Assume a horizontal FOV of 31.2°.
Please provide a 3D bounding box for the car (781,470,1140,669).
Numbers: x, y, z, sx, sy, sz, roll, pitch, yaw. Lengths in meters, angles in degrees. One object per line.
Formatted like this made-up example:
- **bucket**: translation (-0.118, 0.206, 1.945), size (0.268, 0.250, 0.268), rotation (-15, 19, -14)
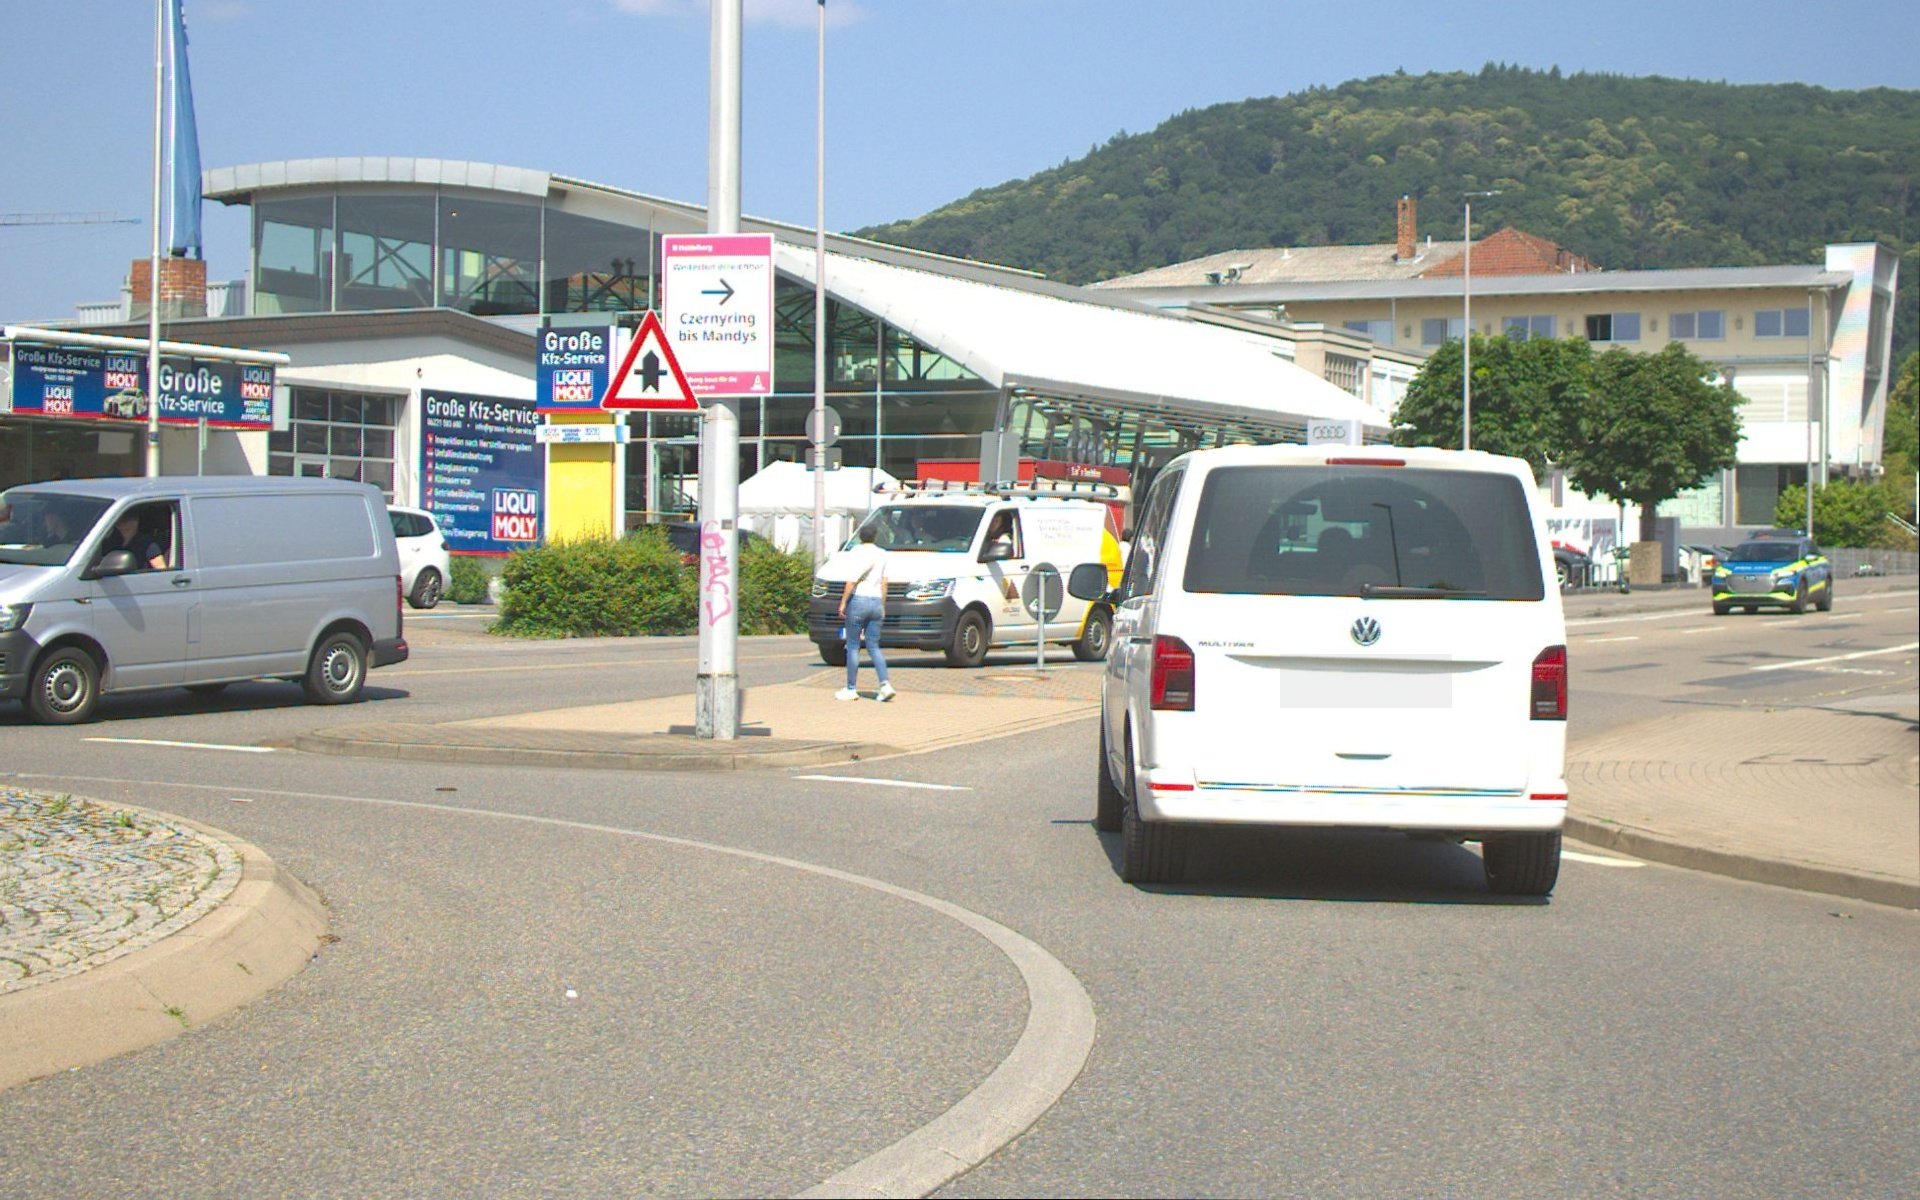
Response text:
- **car**: translation (0.090, -0.400, 39.473), size (2.024, 2.107, 4.927), rotation (2, 2, 28)

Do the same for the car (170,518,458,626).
- **car**: translation (-9.957, -0.434, 53.426), size (1.883, 1.583, 4.922), rotation (-1, 0, 25)

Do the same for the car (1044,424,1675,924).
- **car**: translation (1.706, 0.211, 16.642), size (2.162, 2.006, 5.019), rotation (1, 2, -3)

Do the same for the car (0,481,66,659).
- **car**: translation (-12.206, -0.332, 36.894), size (1.963, 1.959, 5.272), rotation (1, 1, 29)

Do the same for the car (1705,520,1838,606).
- **car**: translation (17.191, -0.809, 72.704), size (1.911, 1.754, 4.446), rotation (1, 1, 24)

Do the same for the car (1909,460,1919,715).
- **car**: translation (10.168, -0.096, 26.449), size (5.141, 1.993, 2.025), rotation (0, 0, -8)

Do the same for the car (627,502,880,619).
- **car**: translation (-2.941, -0.600, 49.762), size (1.996, 1.612, 3.995), rotation (1, 1, 25)

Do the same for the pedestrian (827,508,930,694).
- **pedestrian**: translation (-0.741, 0.004, 31.133), size (0.759, 1.651, 0.673), rotation (1, 1, -16)

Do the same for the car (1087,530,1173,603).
- **car**: translation (3.842, -0.765, 77.250), size (1.745, 1.579, 3.661), rotation (1, 1, 5)

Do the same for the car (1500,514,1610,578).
- **car**: translation (15.269, -1.401, 88.413), size (1.745, 1.579, 3.662), rotation (1, 1, -8)

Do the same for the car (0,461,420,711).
- **car**: translation (-6.927, -0.143, 28.921), size (1.931, 1.929, 4.820), rotation (2, 1, 34)
